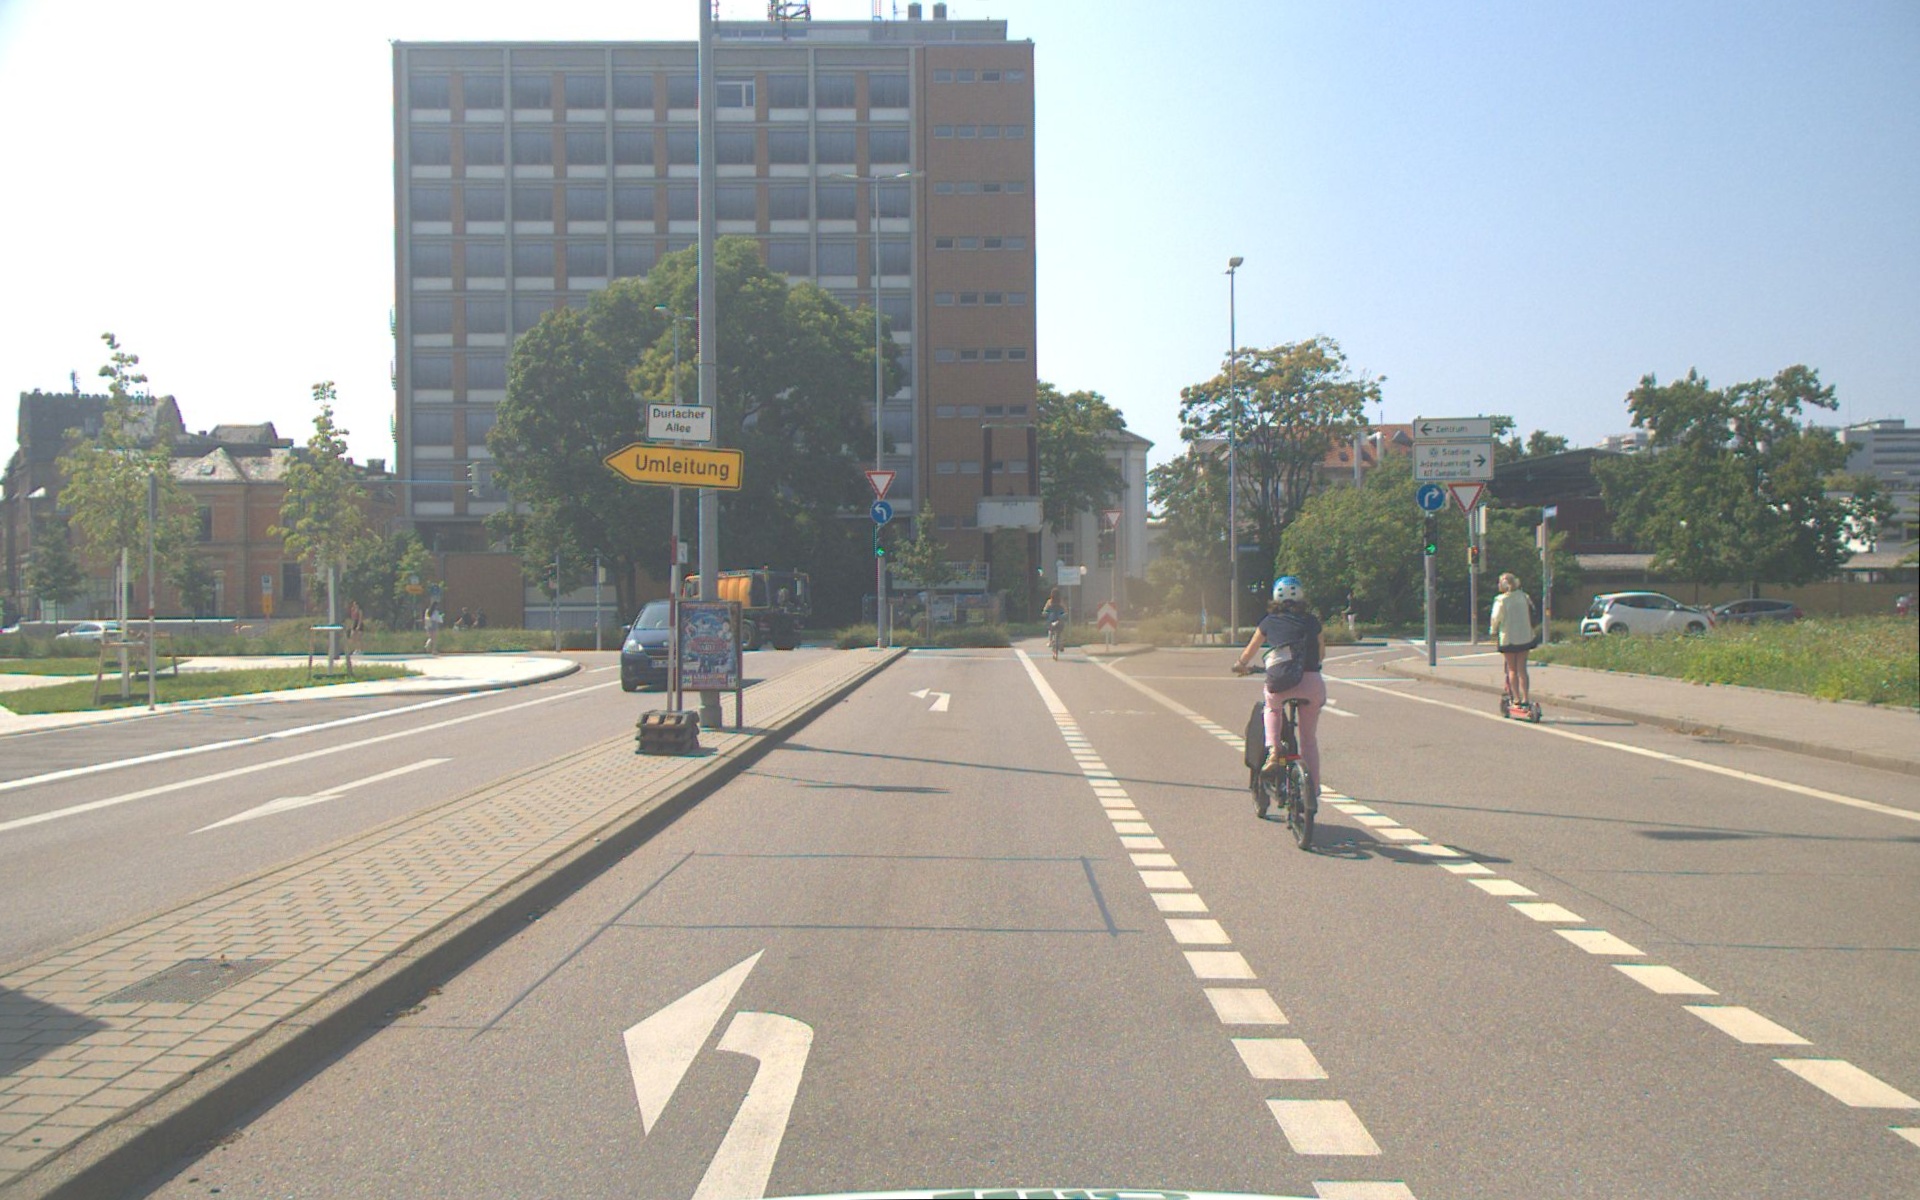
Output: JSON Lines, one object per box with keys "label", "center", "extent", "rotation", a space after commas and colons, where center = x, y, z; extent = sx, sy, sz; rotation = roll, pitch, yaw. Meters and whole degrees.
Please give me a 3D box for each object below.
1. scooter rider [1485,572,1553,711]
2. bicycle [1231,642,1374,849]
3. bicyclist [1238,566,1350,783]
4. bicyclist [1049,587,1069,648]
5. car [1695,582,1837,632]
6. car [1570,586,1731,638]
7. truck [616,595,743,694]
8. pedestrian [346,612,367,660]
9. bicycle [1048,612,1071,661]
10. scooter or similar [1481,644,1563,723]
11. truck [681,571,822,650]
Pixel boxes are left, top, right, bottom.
{"label": "scooter rider", "center": [7.362, 0.544, 21.801], "extent": [0.745, 1.806, 0.555], "rotation": [-1, 0, 9]}
{"label": "bicycle", "center": [2.196, 0.894, 10.801], "extent": [0.591, 1.183, 1.811], "rotation": [-1, 0, 1]}
{"label": "bicyclist", "center": [2.154, 0.469, 10.728], "extent": [0.590, 1.358, 0.660], "rotation": [-1, 0, 1]}
{"label": "bicyclist", "center": [2.373, 0.411, 39.708], "extent": [0.440, 1.446, 0.495], "rotation": [-1, 0, -1]}
{"label": "car", "center": [27.232, 0.226, 55.994], "extent": [3.903, 1.593, 1.824], "rotation": [-1, 0, 3]}
{"label": "car", "center": [20.000, 0.336, 47.993], "extent": [3.908, 1.416, 1.847], "rotation": [-1, 0, -4]}
{"label": "truck", "center": [-4.656, 0.700, 27.869], "extent": [1.523, 1.530, 3.620], "rotation": [-1, 0, 0]}
{"label": "pedestrian", "center": [-19.927, 1.181, 54.616], "extent": [0.410, 1.579, 0.527], "rotation": [-1, 0, 45]}
{"label": "bicycle", "center": [2.374, 0.857, 39.449], "extent": [0.435, 1.136, 1.446], "rotation": [-1, 0, 0]}
{"label": "scooter or similar", "center": [7.365, 1.077, 21.736], "extent": [0.755, 0.943, 1.622], "rotation": [0, 0, 9]}
{"label": "truck", "center": [-8.460, 0.445, 66.792], "extent": [2.685, 3.042, 5.868], "rotation": [1, -1, -44]}
